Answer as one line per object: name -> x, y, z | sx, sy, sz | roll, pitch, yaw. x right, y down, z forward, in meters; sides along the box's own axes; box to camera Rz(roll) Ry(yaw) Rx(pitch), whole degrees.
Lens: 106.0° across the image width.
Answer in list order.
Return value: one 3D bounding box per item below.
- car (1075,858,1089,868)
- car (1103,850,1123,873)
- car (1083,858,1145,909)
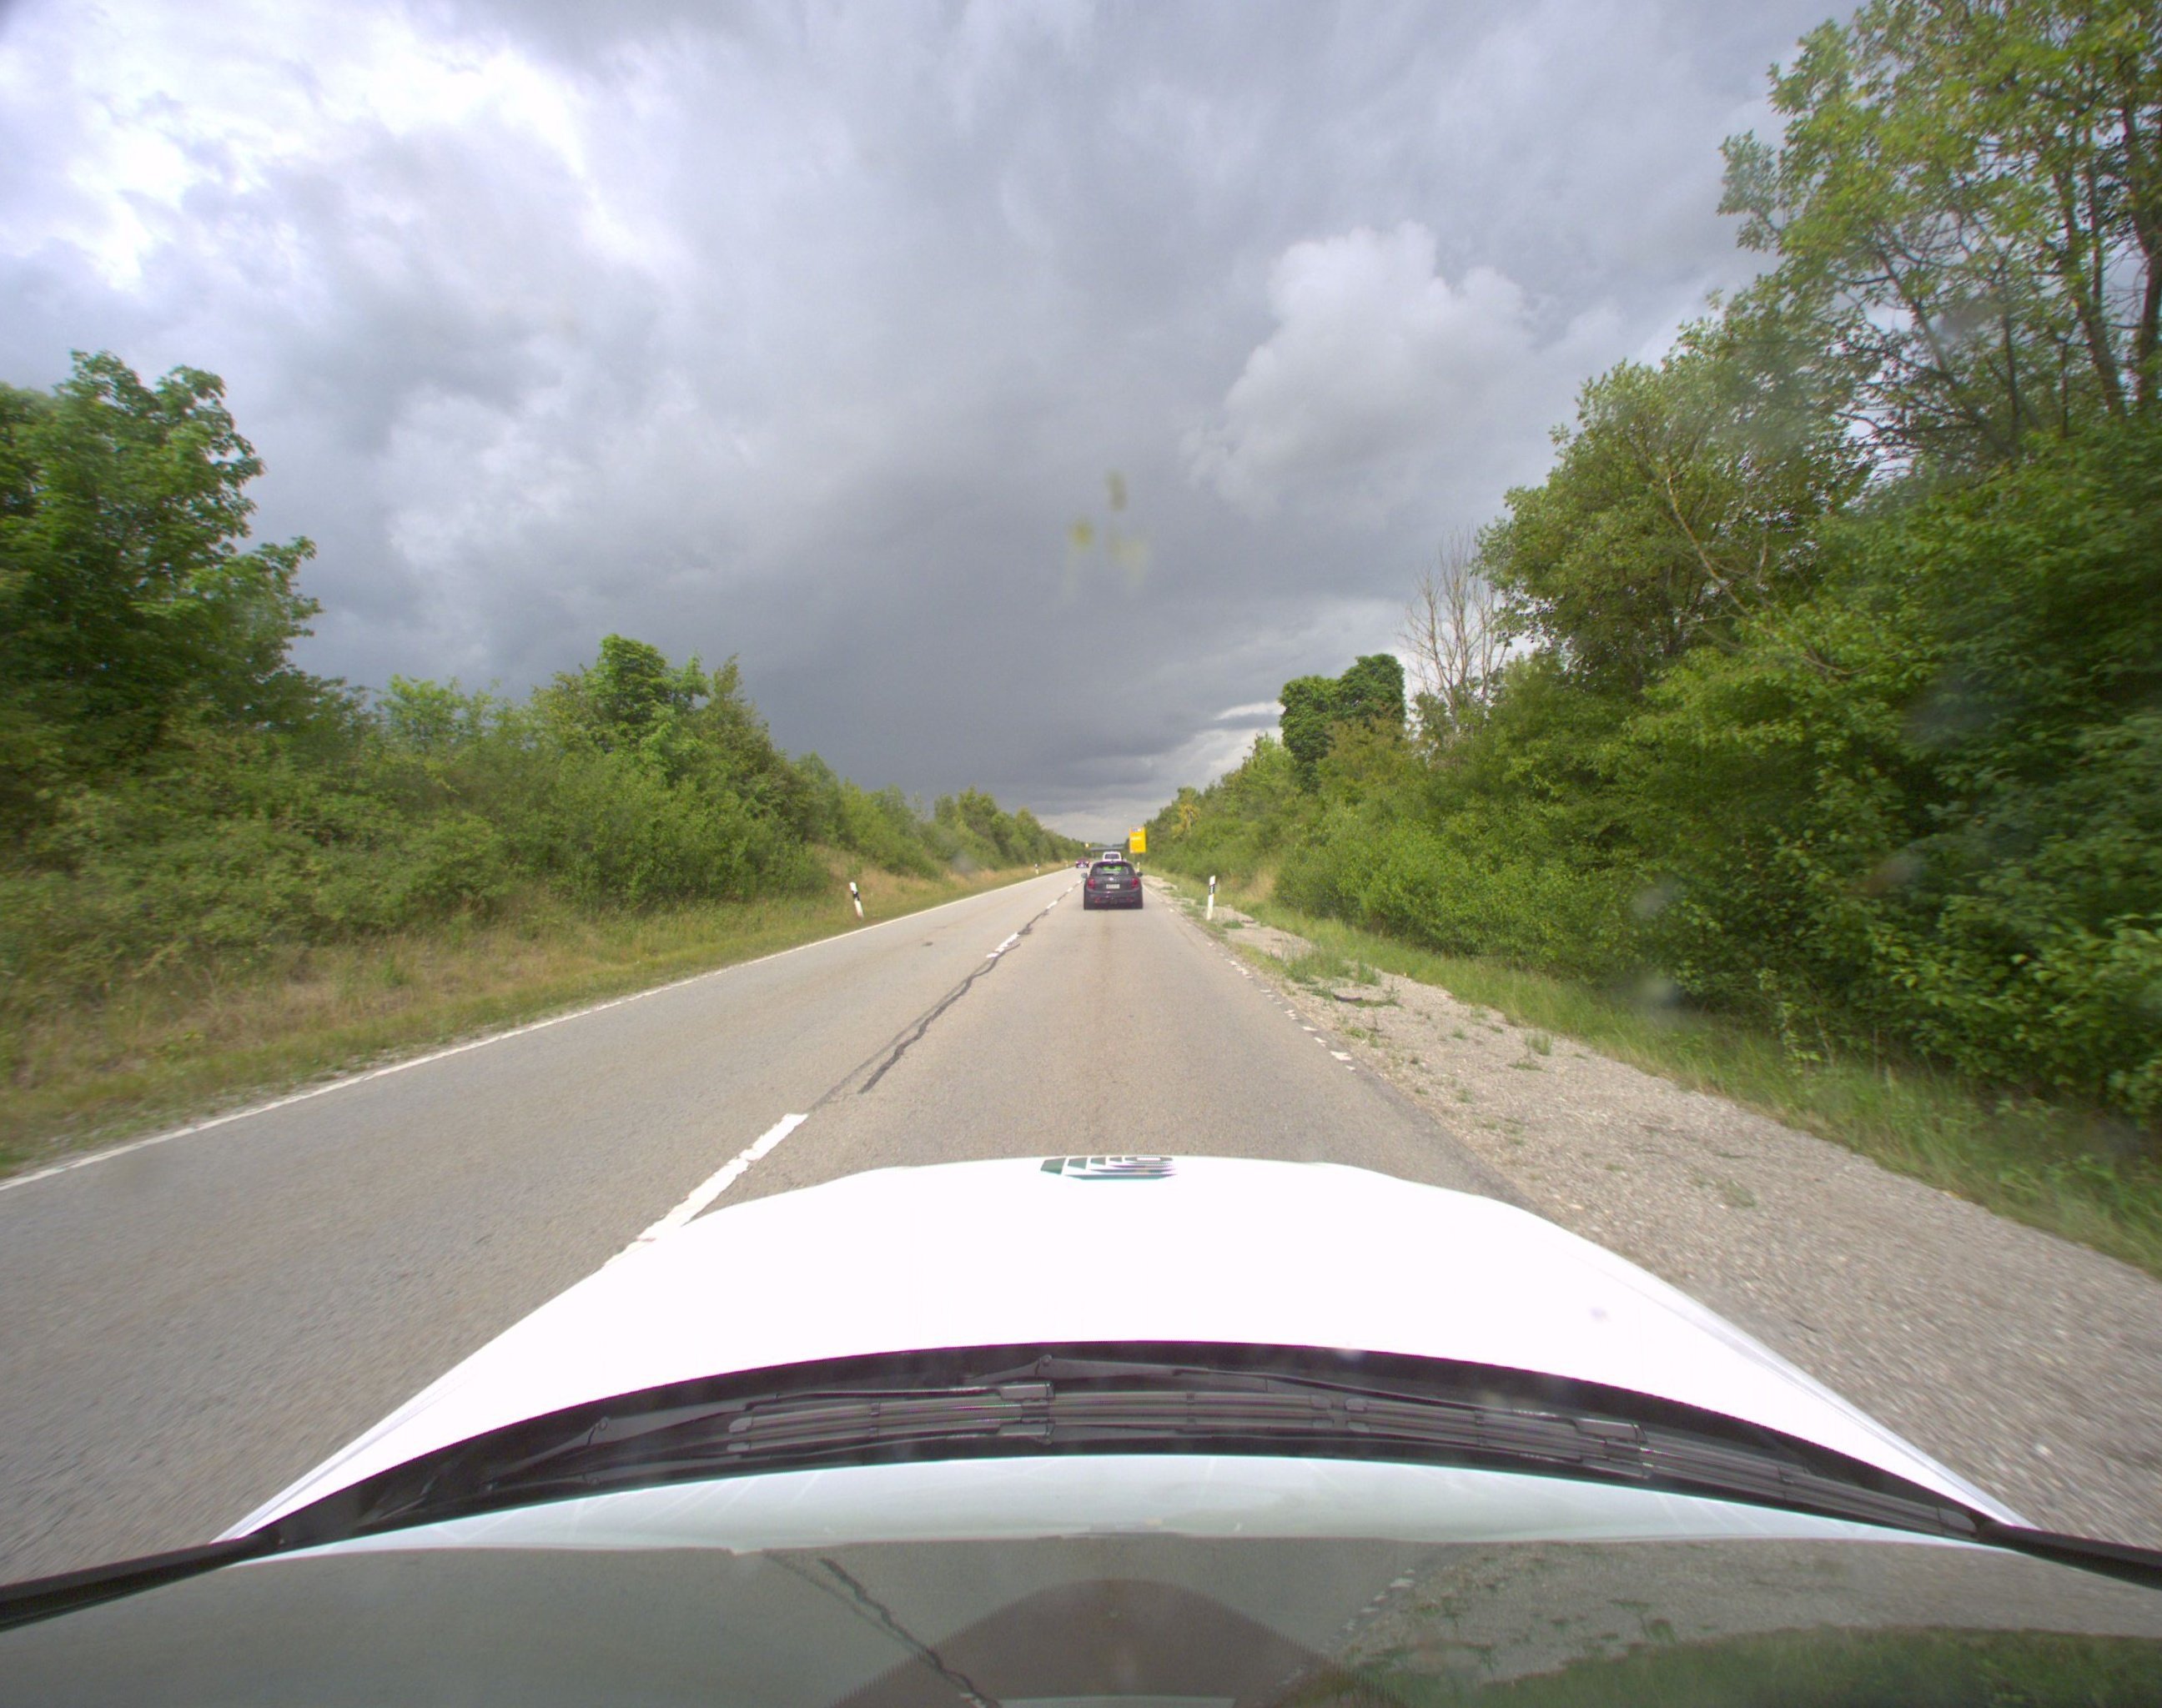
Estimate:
car -> 0.160, 1.284, 117.267 | 1.822, 1.465, 4.413 | -1, 0, 2
car -> 3.012, 0.711, 77.436 | 1.812, 2.054, 4.001 | 0, -1, 2
car -> 1.000, 0.846, 25.026 | 1.750, 1.427, 4.001 | 0, -1, 2
